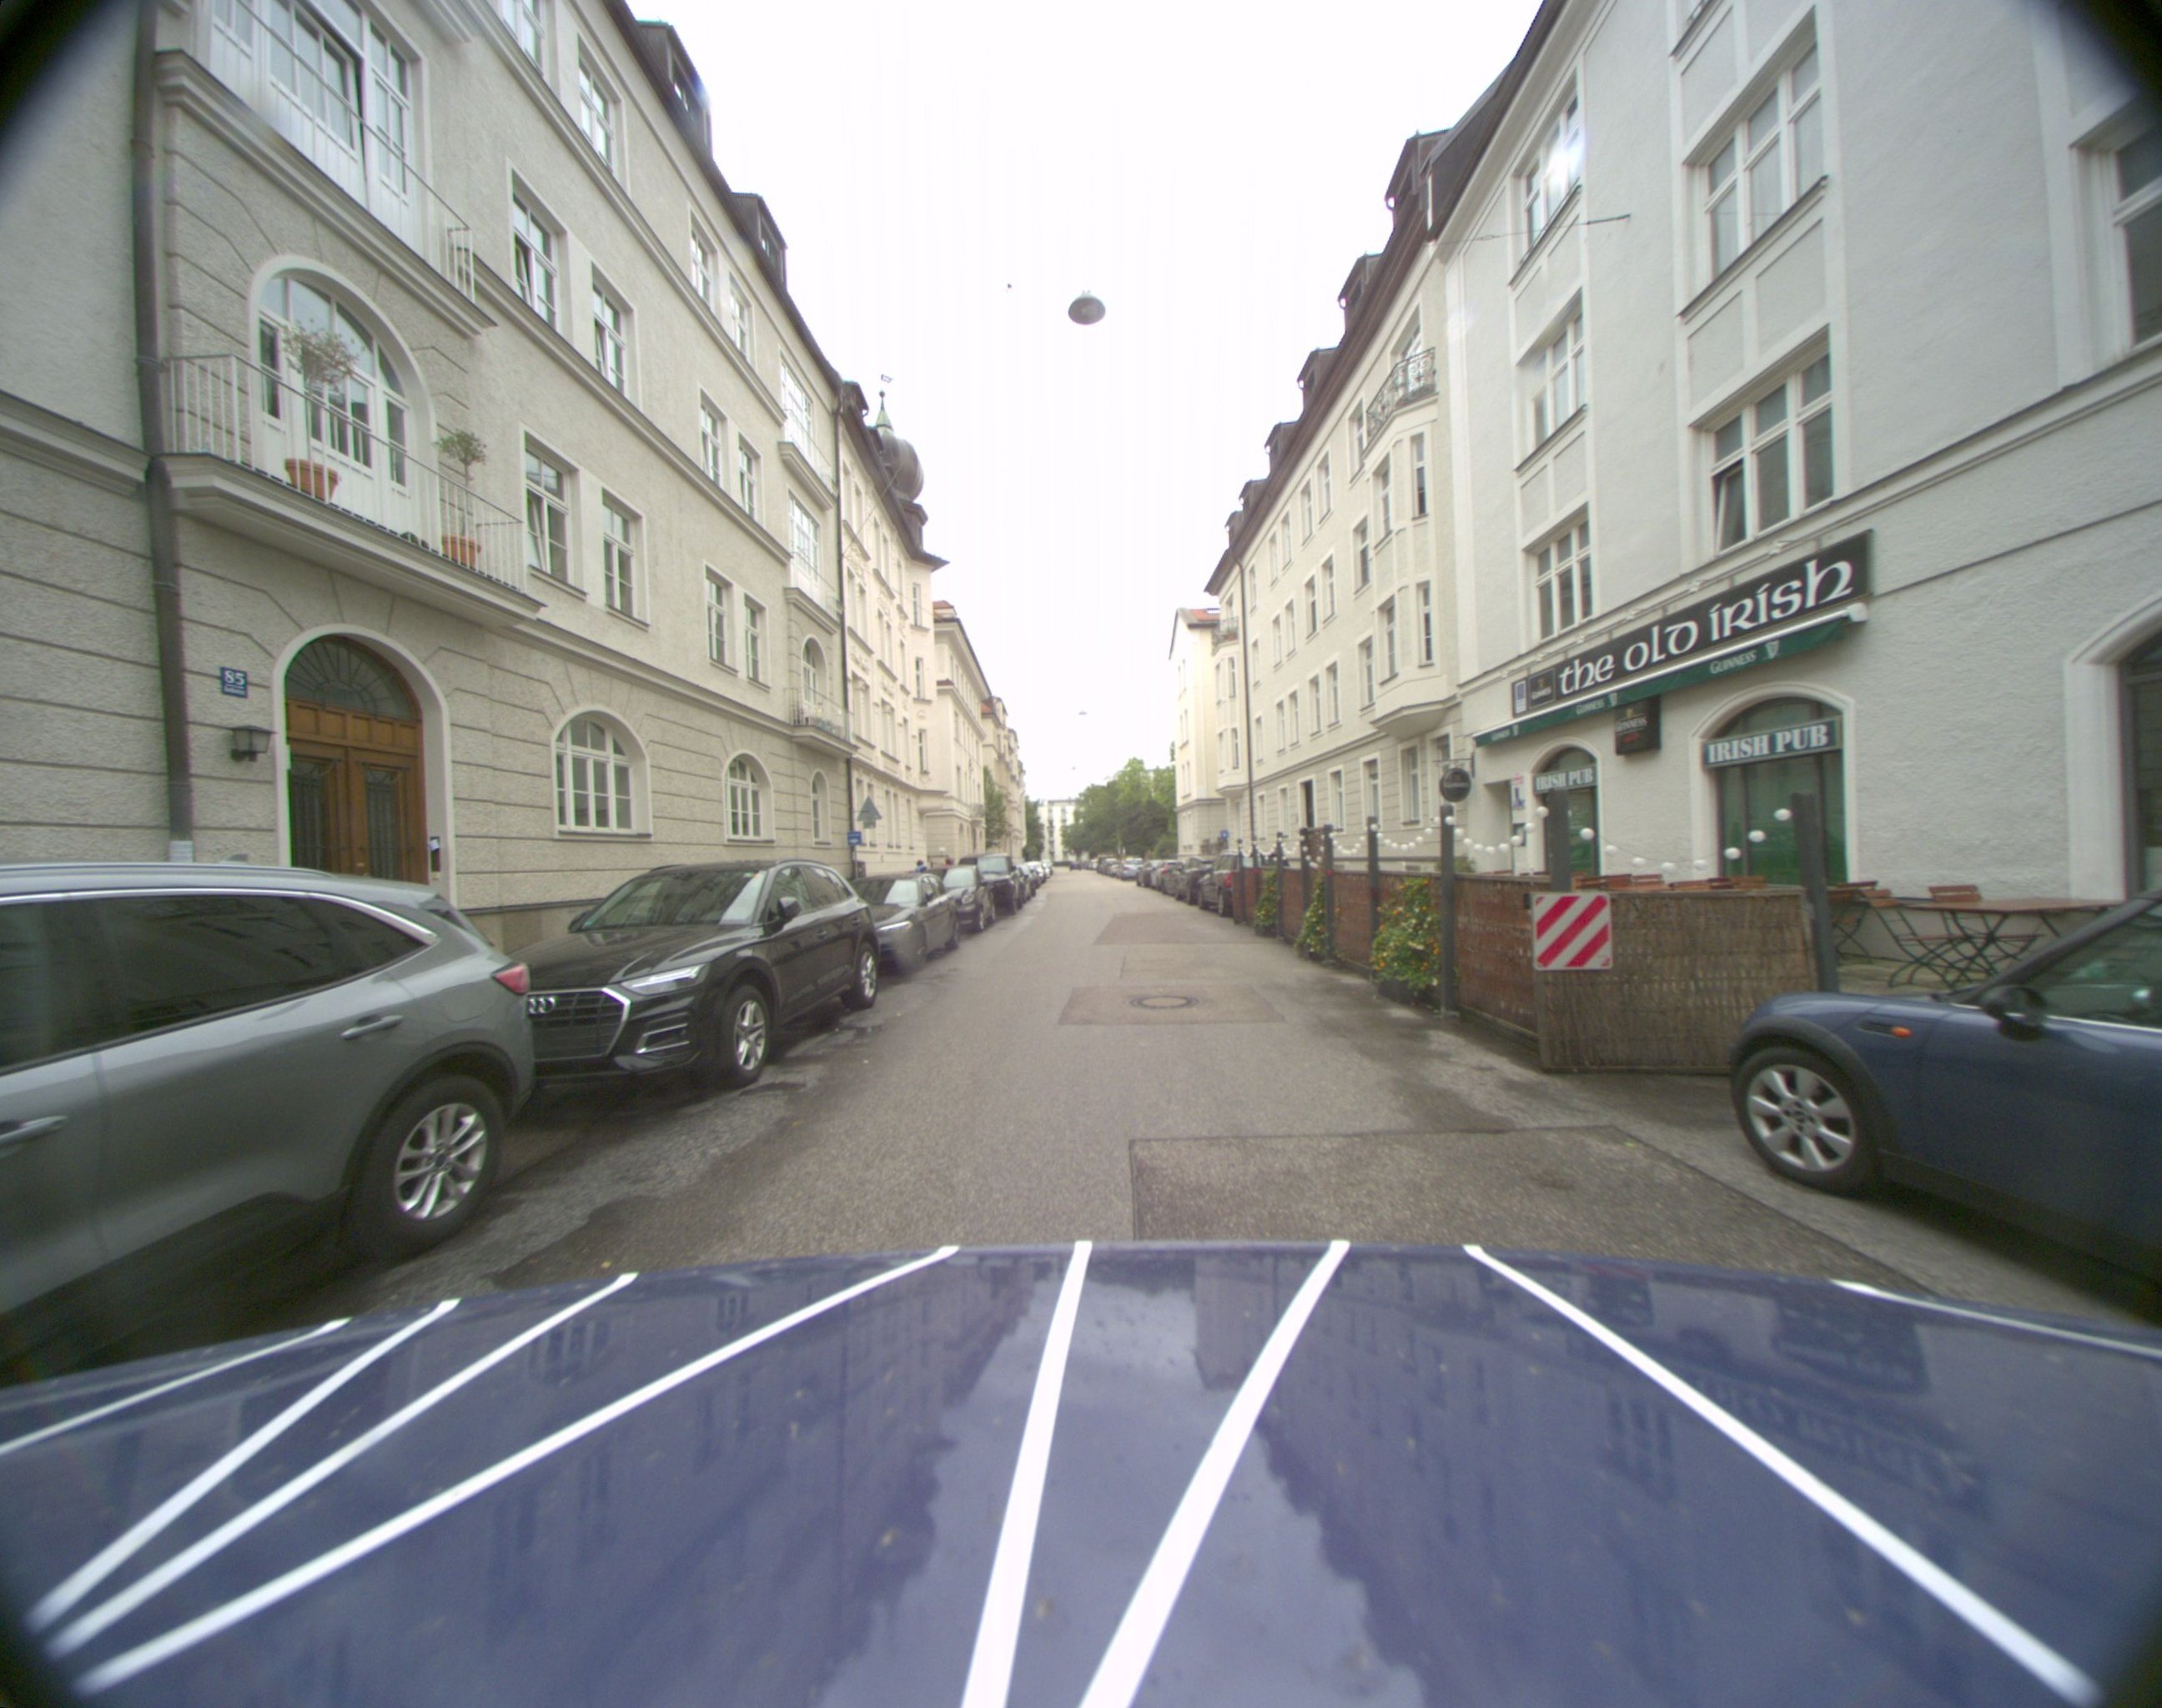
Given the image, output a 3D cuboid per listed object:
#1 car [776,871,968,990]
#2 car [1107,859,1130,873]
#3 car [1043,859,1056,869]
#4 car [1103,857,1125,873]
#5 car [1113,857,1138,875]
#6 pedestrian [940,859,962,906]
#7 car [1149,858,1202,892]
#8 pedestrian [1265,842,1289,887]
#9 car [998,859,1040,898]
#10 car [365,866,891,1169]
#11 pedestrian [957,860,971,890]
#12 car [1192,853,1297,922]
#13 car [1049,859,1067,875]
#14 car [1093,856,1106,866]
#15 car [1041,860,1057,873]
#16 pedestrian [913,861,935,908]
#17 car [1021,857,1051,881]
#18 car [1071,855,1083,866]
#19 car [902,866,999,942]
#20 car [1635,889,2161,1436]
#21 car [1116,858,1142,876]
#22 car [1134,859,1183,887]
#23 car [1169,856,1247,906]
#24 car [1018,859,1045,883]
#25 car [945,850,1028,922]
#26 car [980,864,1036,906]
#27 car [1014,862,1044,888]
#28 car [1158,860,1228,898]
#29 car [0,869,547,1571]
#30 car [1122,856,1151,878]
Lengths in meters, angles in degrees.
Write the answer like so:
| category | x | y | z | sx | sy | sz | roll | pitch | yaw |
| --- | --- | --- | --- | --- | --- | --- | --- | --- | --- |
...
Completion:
| category | x | y | z | sx | sy | sz | roll | pitch | yaw |
| --- | --- | --- | --- | --- | --- | --- | --- | --- | --- |
| car | -3.127 | 1.076 | 12.308 | 1.710 | 1.462 | 4.202 | -2 | 0 | 3 |
| car | 3.587 | 1.169 | 73.688 | 1.740 | 1.357 | 4.191 | 0 | 0 | -4 |
| car | -4.659 | 1.476 | 113.018 | 1.715 | 1.462 | 4.084 | -4 | 0 | -4 |
| car | 3.304 | 1.081 | 77.415 | 1.773 | 1.412 | 3.998 | -2 | 1 | -4 |
| car | 3.832 | 1.019 | 65.599 | 1.802 | 1.426 | 4.079 | -2 | 0 | -1 |
| pedestrian | -4.790 | 1.033 | 28.051 | 0.705 | 1.718 | 0.703 | -1 | 0 | -3 |
| car | 4.332 | 0.932 | 35.429 | 1.799 | 1.411 | 4.510 | 1 | 0 | -1 |
| pedestrian | 7.612 | 0.407 | 29.531 | 0.663 | 1.697 | 0.701 | -2 | 0 | 32 |
| car | -2.817 | 1.083 | 35.274 | 1.712 | 1.578 | 3.999 | -4 | 0 | -3 |
| car | -3.217 | 1.004 | 6.656 | 1.781 | 1.626 | 4.375 | -3 | 0 | 2 |
| pedestrian | -6.624 | 1.156 | 42.906 | 0.684 | 1.669 | 0.812 | 0 | 0 | -2 |
| car | 4.261 | 0.826 | 20.506 | 1.751 | 1.663 | 4.275 | 1 | 0 | -2 |
| car | -2.390 | 1.348 | 77.462 | 1.667 | 1.498 | 4.064 | -3 | -1 | -4 |
| car | 2.786 | 1.103 | 115.814 | 1.705 | 1.483 | 3.955 | -1 | 0 | -3 |
| car | -3.854 | 1.497 | 92.072 | 1.646 | 1.409 | 4.000 | -3 | 0 | 0 |
| pedestrian | -5.654 | 1.085 | 27.327 | 0.681 | 1.664 | 0.654 | 0 | 0 | -3 |
| car | -3.302 | 1.110 | 56.274 | 1.900 | 1.626 | 4.392 | -2 | -1 | 0 |
| car | -0.652 | 0.971 | 119.438 | 1.729 | 1.525 | 4.083 | -3 | 1 | -3 |
| car | -3.021 | 1.116 | 18.251 | 1.659 | 1.516 | 3.637 | -3 | 0 | 0 |
| car | 3.822 | 0.899 | 2.179 | 1.711 | 1.382 | 4.001 | -1 | 0 | 3 |
| car | 3.834 | 1.020 | 61.022 | 1.649 | 1.395 | 3.999 | 0 | 0 | -3 |
| car | 4.129 | 0.966 | 41.235 | 1.855 | 1.359 | 4.701 | -2 | 0 | -3 |
| car | 4.089 | 0.822 | 25.102 | 1.746 | 1.478 | 4.180 | -2 | 0 | -1 |
| car | -3.354 | 1.110 | 51.705 | 1.713 | 1.492 | 3.998 | -3 | 0 | -4 |
| car | -2.806 | 0.902 | 23.599 | 1.916 | 1.874 | 4.713 | -4 | 0 | -1 |
| car | -2.794 | 1.152 | 29.648 | 1.668 | 1.387 | 3.582 | -4 | 0 | 1 |
| car | -3.151 | 1.259 | 46.886 | 1.616 | 1.387 | 3.999 | -4 | 0 | -2 |
| car | 4.368 | 0.929 | 30.279 | 1.816 | 1.377 | 4.442 | -1 | 0 | -5 |
| car | -3.599 | 0.957 | 1.622 | 1.794 | 1.703 | 4.425 | -2 | 0 | -1 |
| car | 3.927 | 0.921 | 54.398 | 1.701 | 1.571 | 4.061 | 0 | 0 | -1 |
